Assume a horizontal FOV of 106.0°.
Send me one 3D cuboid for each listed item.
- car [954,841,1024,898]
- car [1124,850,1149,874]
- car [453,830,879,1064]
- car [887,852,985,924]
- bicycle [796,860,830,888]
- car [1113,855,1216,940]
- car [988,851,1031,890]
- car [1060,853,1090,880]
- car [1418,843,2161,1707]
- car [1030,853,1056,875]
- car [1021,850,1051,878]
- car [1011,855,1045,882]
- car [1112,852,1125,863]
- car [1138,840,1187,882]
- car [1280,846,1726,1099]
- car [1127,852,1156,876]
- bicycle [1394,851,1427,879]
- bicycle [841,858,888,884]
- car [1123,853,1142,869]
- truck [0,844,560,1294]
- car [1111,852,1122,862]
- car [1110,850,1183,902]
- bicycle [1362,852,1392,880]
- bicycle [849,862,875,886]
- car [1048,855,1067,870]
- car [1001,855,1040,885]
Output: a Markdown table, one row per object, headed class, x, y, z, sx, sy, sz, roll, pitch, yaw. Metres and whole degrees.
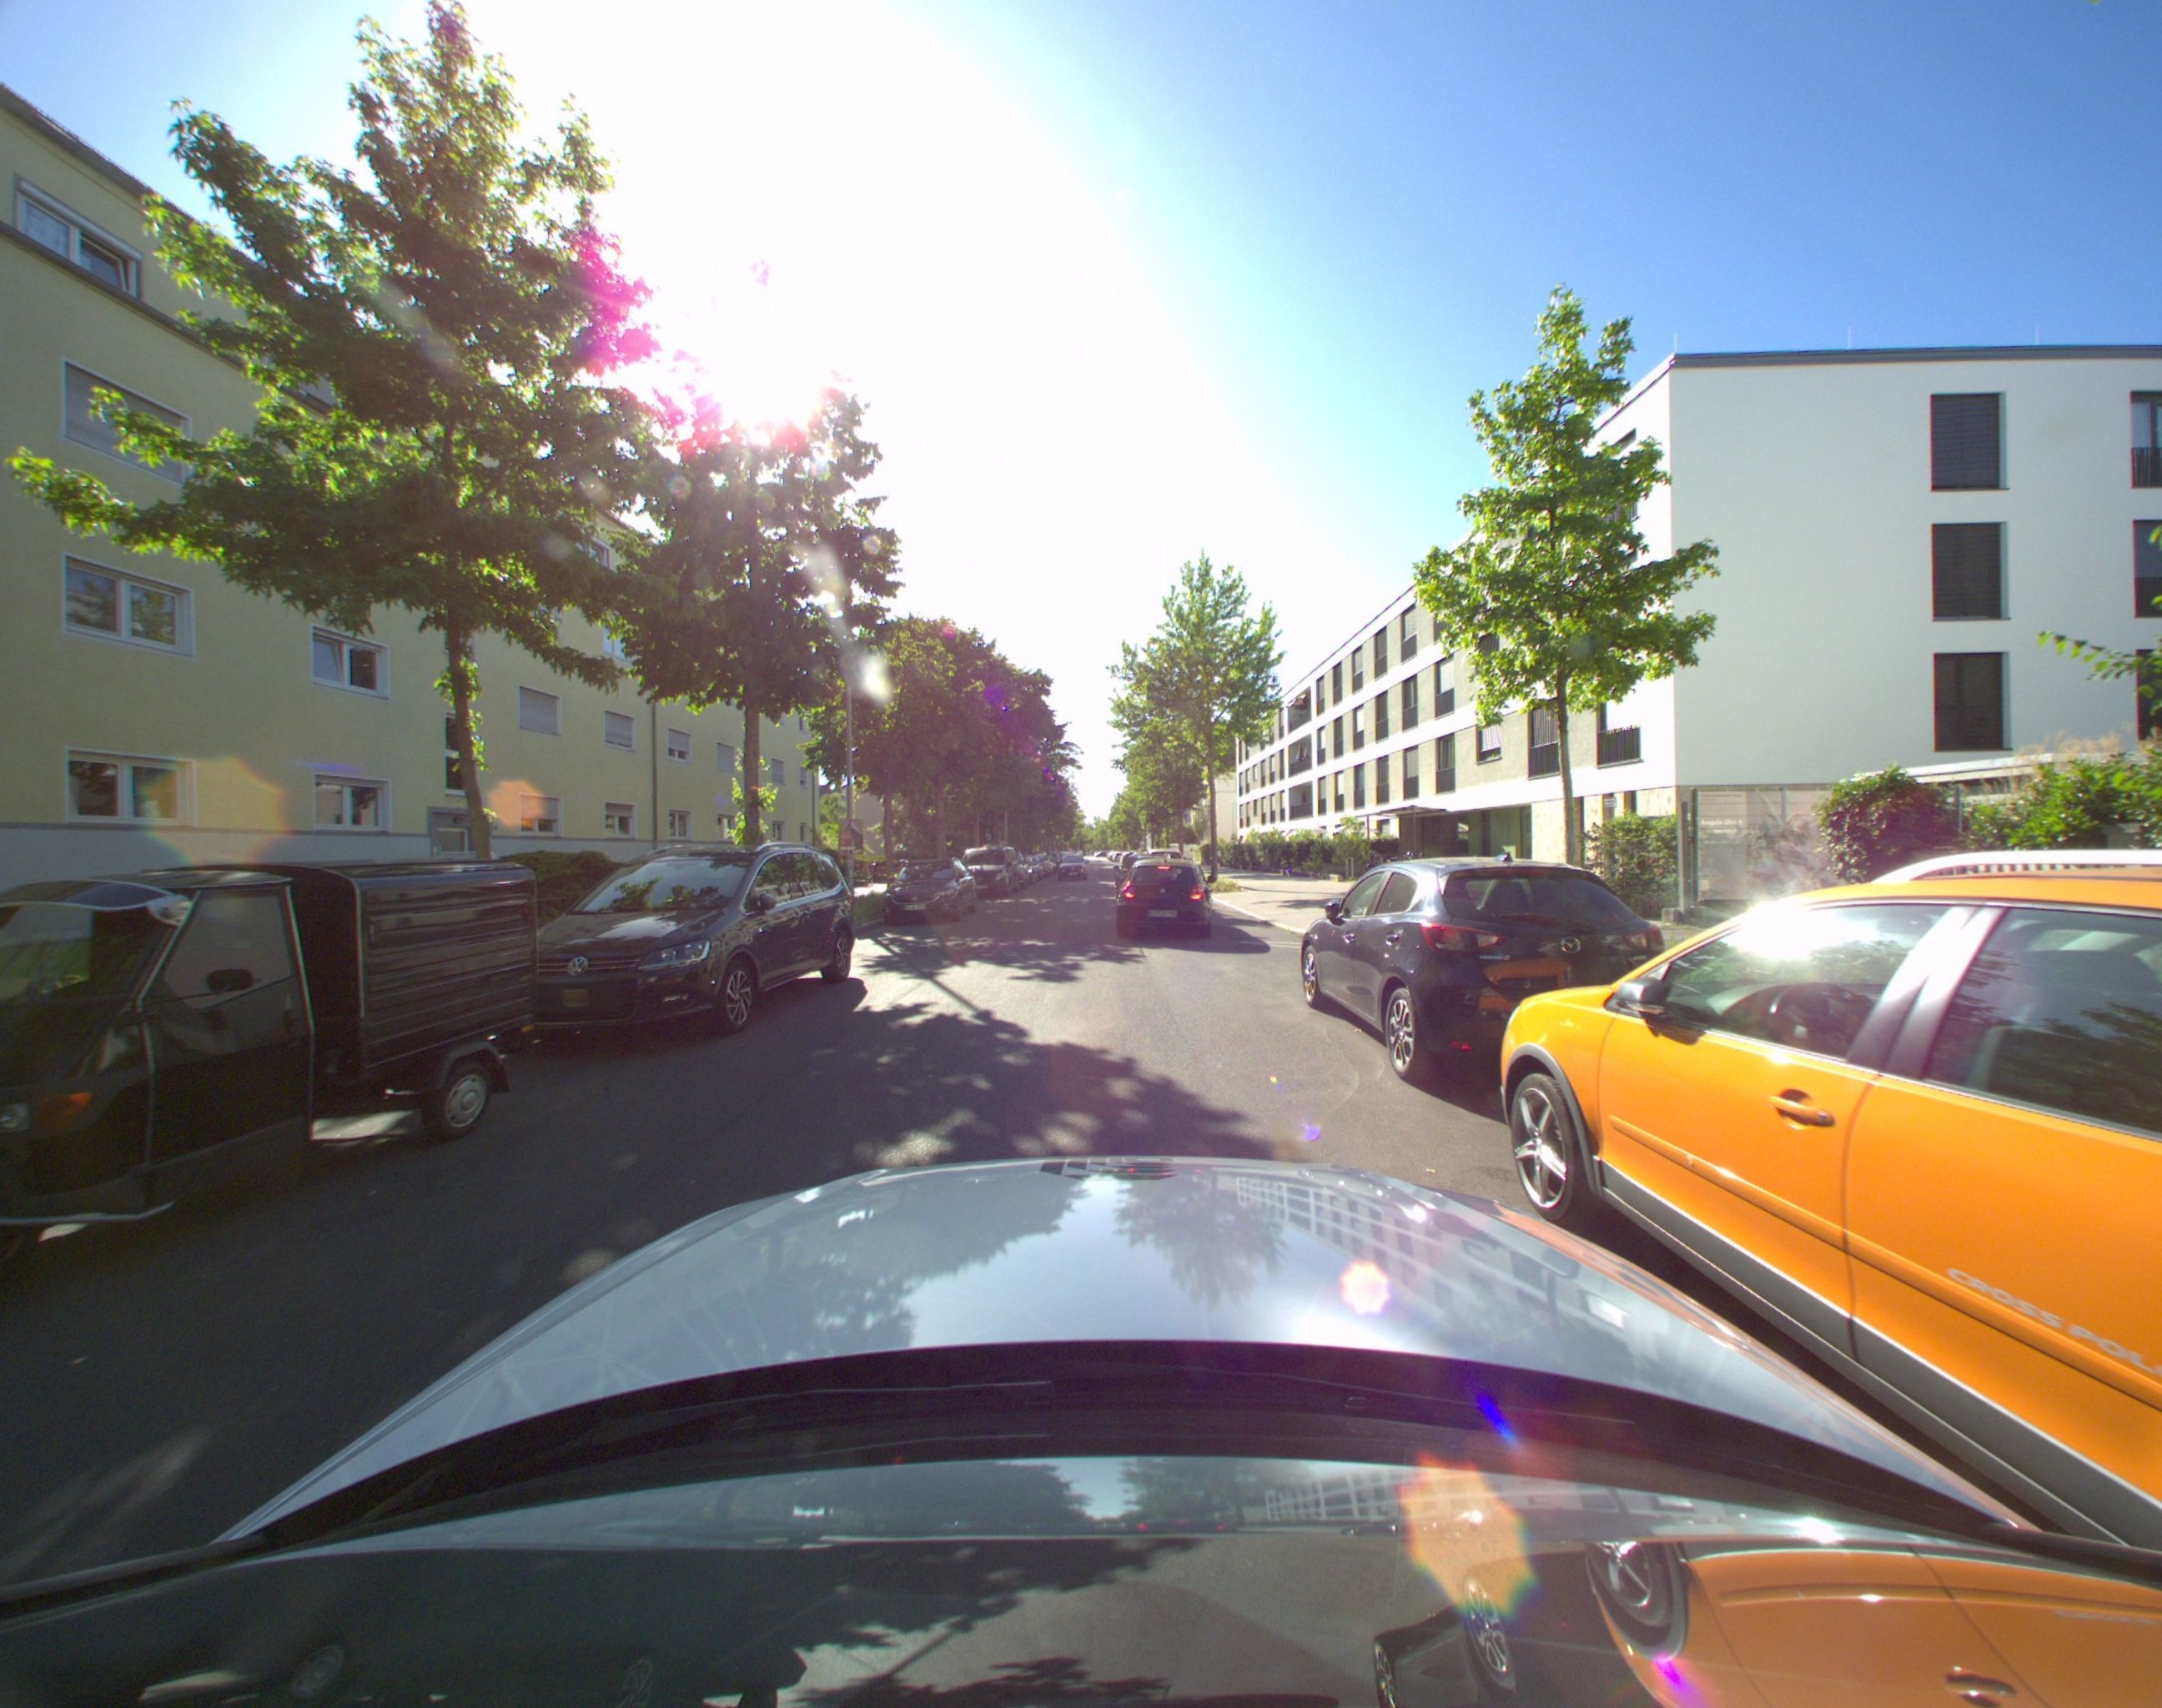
| class | x | y | z | sx | sy | sz | roll | pitch | yaw |
| --- | --- | --- | --- | --- | --- | --- | --- | --- | --- |
| car | -3.388 | 0.543 | 30.991 | 1.819 | 1.904 | 5.144 | -2 | 0 | 2 |
| car | 4.110 | 0.584 | 60.350 | 1.714 | 1.641 | 3.853 | 1 | 0 | 2 |
| car | -3.792 | 0.698 | 8.721 | 1.843 | 1.680 | 4.977 | -3 | 0 | 1 |
| car | -3.541 | 0.763 | 20.678 | 1.502 | 1.548 | 4.779 | -3 | 0 | 1 |
| bicycle | -10.189 | 0.736 | 30.990 | 0.592 | 0.991 | 1.928 | -1 | 0 | 1 |
| car | 1.500 | 0.741 | 15.682 | 1.644 | 1.397 | 3.412 | -1 | 0 | 1 |
| car | -3.177 | 0.684 | 36.816 | 1.607 | 1.611 | 4.227 | -2 | 0 | -1 |
| car | -0.305 | 0.669 | 45.710 | 1.499 | 1.426 | 3.180 | -2 | 0 | 2 |
| car | 2.580 | 0.710 | 2.265 | 1.631 | 1.454 | 4.100 | -1 | 0 | 1 |
| car | -2.713 | 0.693 | 58.363 | 1.607 | 1.452 | 3.865 | -2 | 0 | 0 |
| car | -2.844 | 0.628 | 52.660 | 1.607 | 1.679 | 4.234 | -2 | 0 | 0 |
| car | -3.039 | 0.790 | 47.219 | 1.607 | 1.427 | 3.725 | -2 | 0 | 0 |
| car | 5.346 | 0.438 | 115.552 | 1.713 | 1.480 | 3.855 | -2 | 0 | 4 |
| car | 3.344 | 0.298 | 34.218 | 1.840 | 1.631 | 4.413 | 0 | 0 | 3 |
| car | 2.977 | 0.690 | 6.828 | 1.694 | 1.449 | 4.084 | -2 | 0 | 2 |
| car | 4.008 | 0.647 | 54.342 | 1.714 | 1.528 | 4.002 | 1 | 0 | 2 |
| bicycle | 13.235 | 0.437 | 32.754 | 0.544 | 1.055 | 1.779 | -2 | 0 | -1 |
| bicycle | -10.590 | 0.815 | 39.827 | 2.145 | 1.208 | 0.688 | -1 | 0 | -10 |
| car | 4.740 | 0.664 | 75.466 | 1.714 | 1.379 | 3.853 | 1 | 0 | 2 |
| truck | -4.008 | 0.758 | 4.091 | 1.079 | 1.577 | 2.434 | -1 | 0 | 3 |
| car | 5.967 | 0.470 | 135.843 | 1.713 | 1.480 | 3.855 | -2 | 0 | 4 |
| car | 1.926 | 0.603 | 24.994 | 1.646 | 1.425 | 3.995 | -1 | 0 | -4 |
| bicycle | 11.876 | 0.466 | 32.725 | 0.544 | 1.055 | 1.690 | -2 | 0 | -1 |
| bicycle | -9.923 | 0.886 | 36.949 | 0.592 | 0.991 | 1.928 | -1 | 0 | 1 |
| car | -2.269 | 0.788 | 79.343 | 1.607 | 1.392 | 3.865 | -2 | 0 | 0 |
| car | -3.090 | 0.775 | 42.125 | 1.607 | 1.427 | 4.058 | -2 | 0 | 0 |
